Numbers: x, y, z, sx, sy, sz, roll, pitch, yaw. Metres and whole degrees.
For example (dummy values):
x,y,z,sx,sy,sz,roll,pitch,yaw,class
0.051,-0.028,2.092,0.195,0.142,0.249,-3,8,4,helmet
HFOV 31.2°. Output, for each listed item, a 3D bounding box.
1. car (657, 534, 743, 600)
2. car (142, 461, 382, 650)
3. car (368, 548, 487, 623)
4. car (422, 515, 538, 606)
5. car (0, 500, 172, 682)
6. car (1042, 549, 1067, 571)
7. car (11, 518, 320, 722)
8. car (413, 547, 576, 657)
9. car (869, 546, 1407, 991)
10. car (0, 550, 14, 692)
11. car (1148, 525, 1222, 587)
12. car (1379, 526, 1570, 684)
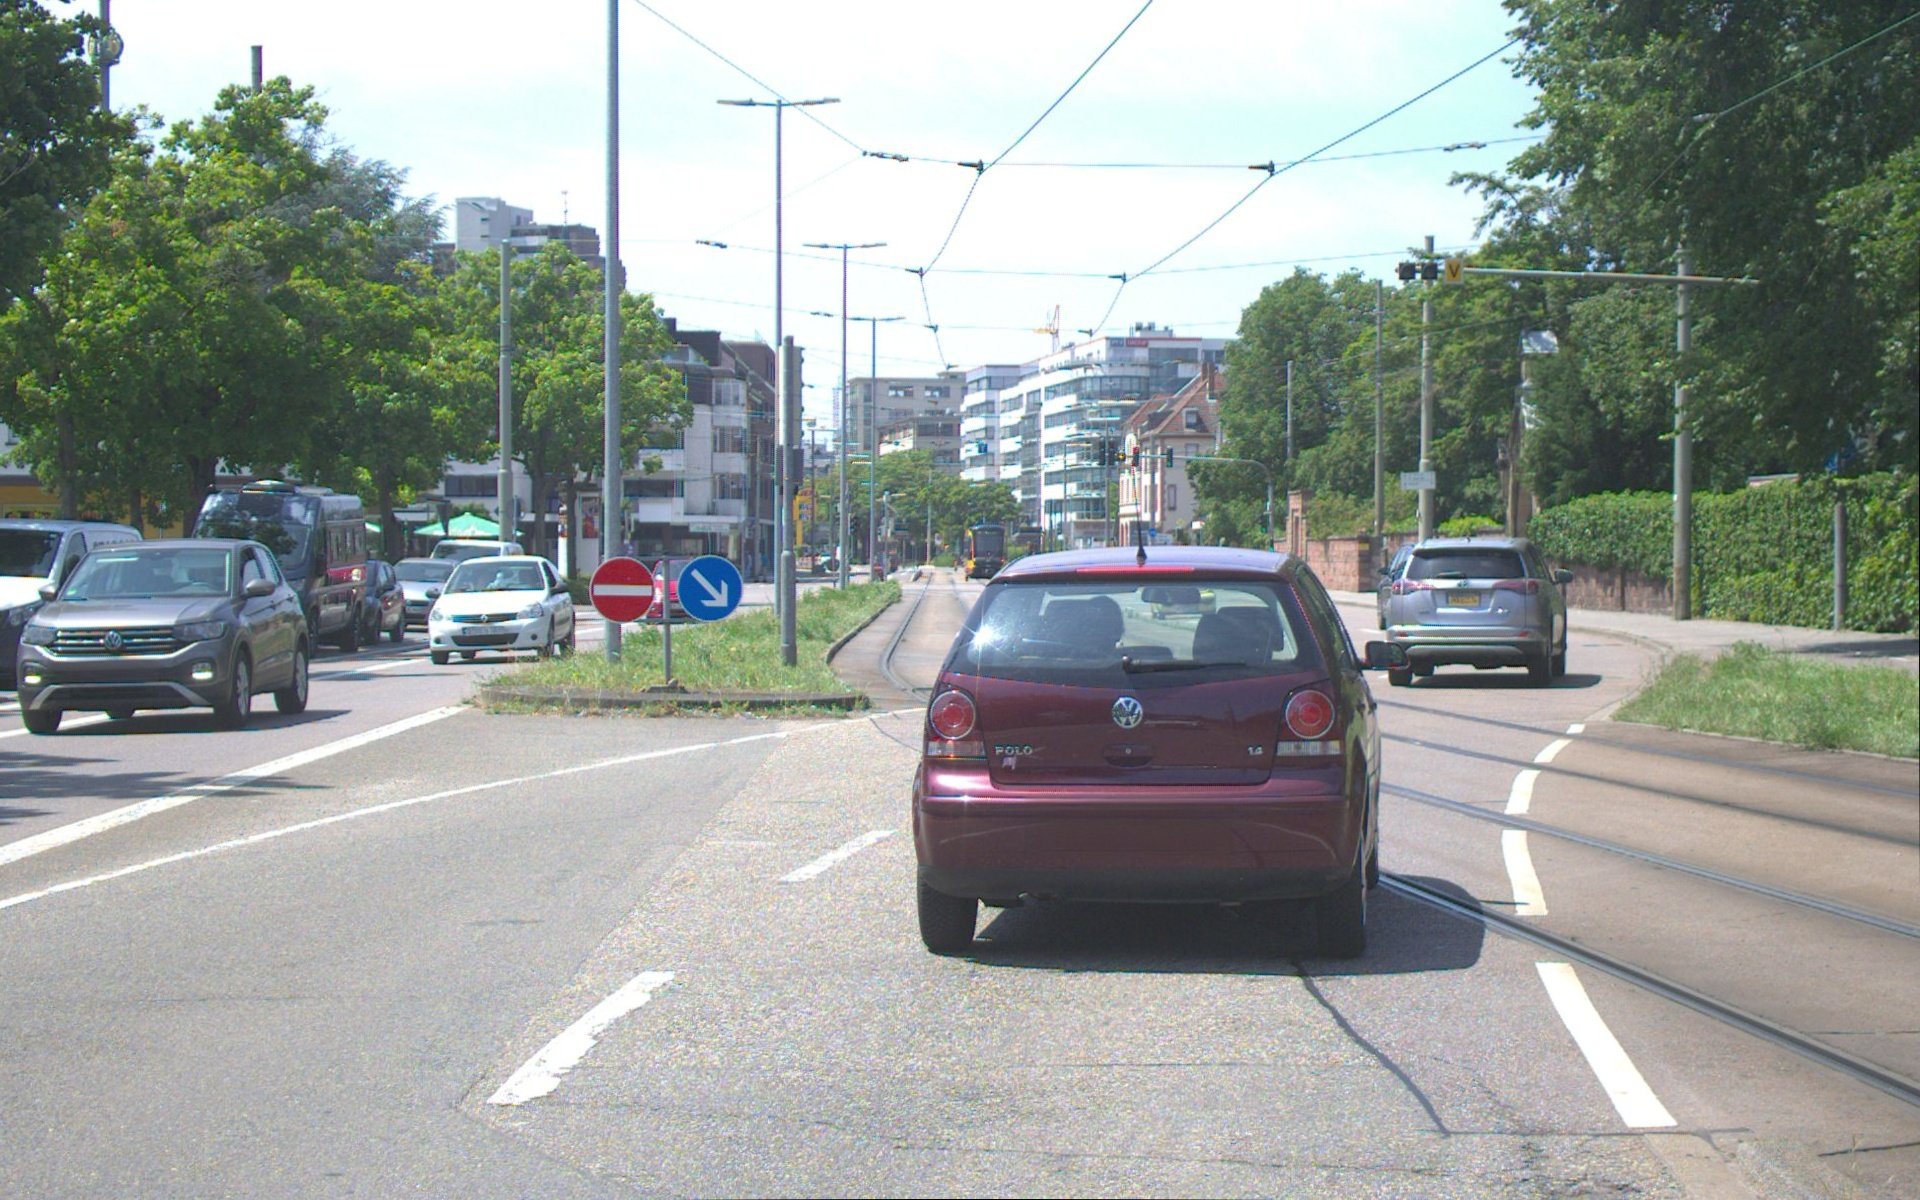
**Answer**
x,y,z,sx,sy,sz,roll,pitch,yaw,class
-5.803,-0.751,76.978,1.657,1.405,3.606,-1,1,-1,car
-10.822,-0.709,53.834,2.398,2.647,6.173,3,1,0,car
-10.751,-0.313,69.669,1.631,1.415,3.866,2,1,2,car
-10.679,-0.912,76.831,1.875,1.958,5.165,0,1,0,car
-10.779,-0.163,39.997,1.863,1.930,4.805,3,1,2,car
5.403,-2.297,197.213,1.354,1.248,2.972,1,1,0,car
-6.593,0.129,28.895,1.737,1.570,3.713,-1,1,0,car
-6.268,0.011,46.605,1.648,1.371,3.811,-2,0,0,car
0.849,0.546,13.647,1.610,1.493,3.998,-1,1,10,car
-10.892,0.201,34.407,1.614,1.479,3.784,3,1,2,car
6.240,-1.229,95.614,1.795,1.677,4.000,0,1,0,car
5.947,0.025,39.417,1.796,1.677,3.998,1,1,13,car
